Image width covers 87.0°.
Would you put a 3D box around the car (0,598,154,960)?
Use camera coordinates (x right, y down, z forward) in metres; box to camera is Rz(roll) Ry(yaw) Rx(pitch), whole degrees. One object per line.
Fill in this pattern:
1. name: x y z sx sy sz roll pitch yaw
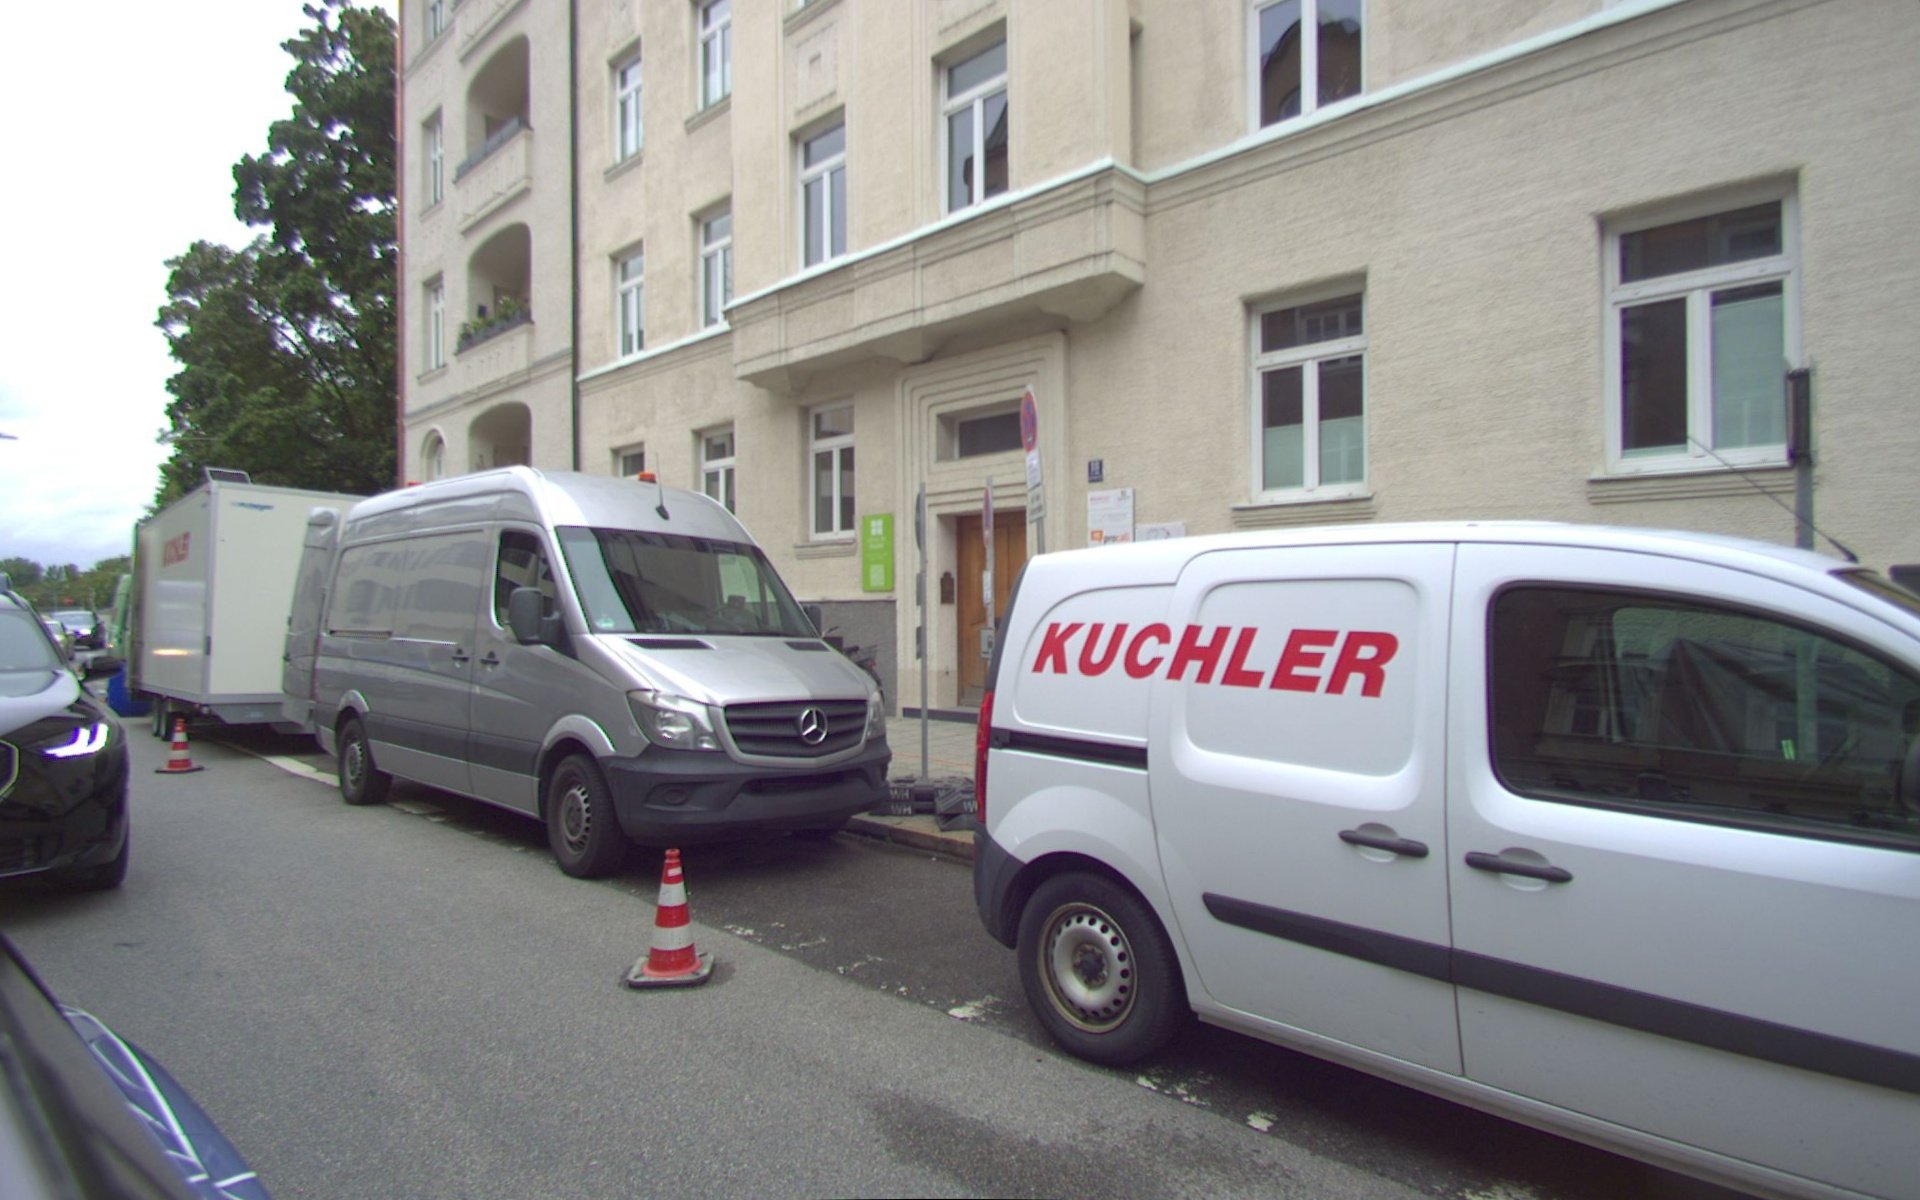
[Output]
1. car: -5.982 0.781 5.648 1.894 1.577 4.297 1 -1 -44

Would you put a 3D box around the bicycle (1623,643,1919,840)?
1. bicycle: 5.294 0.850 6.367 1.859 1.112 0.397 -1 -1 33

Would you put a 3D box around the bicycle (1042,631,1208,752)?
1. bicycle: 1.649 0.892 10.344 1.743 1.112 0.423 -1 -1 43

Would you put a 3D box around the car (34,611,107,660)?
1. car: -32.140 1.274 36.639 1.791 1.601 4.170 6 -5 -40

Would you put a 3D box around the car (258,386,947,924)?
1. car: -3.334 0.386 7.999 6.876 2.607 2.033 -1 -5 43

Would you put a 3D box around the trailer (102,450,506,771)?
1. trailer: -8.823 0.283 13.115 2.771 2.992 7.603 5 -5 -45

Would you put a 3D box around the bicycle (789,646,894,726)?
1. bicycle: -1.606 1.109 13.469 0.410 0.921 1.759 -4 2 -42

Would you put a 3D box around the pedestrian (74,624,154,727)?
1. pedestrian: -13.471 1.175 16.126 0.634 1.592 0.757 0 -1 26

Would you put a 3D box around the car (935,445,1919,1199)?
1. car: 2.069 0.638 2.899 4.328 1.792 1.743 -1 -3 44

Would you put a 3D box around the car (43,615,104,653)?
1. car: -38.226 1.441 43.675 1.791 1.474 4.170 6 -5 -41

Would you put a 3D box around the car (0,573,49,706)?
1. car: -20.647 0.743 20.952 1.974 2.510 6.248 0 0 -36

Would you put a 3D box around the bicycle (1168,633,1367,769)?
1. bicycle: 2.781 0.878 9.304 1.736 1.112 0.423 -1 -1 43

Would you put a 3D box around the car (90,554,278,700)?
1. car: -16.326 0.541 21.106 6.796 2.592 2.117 -2 -1 44
